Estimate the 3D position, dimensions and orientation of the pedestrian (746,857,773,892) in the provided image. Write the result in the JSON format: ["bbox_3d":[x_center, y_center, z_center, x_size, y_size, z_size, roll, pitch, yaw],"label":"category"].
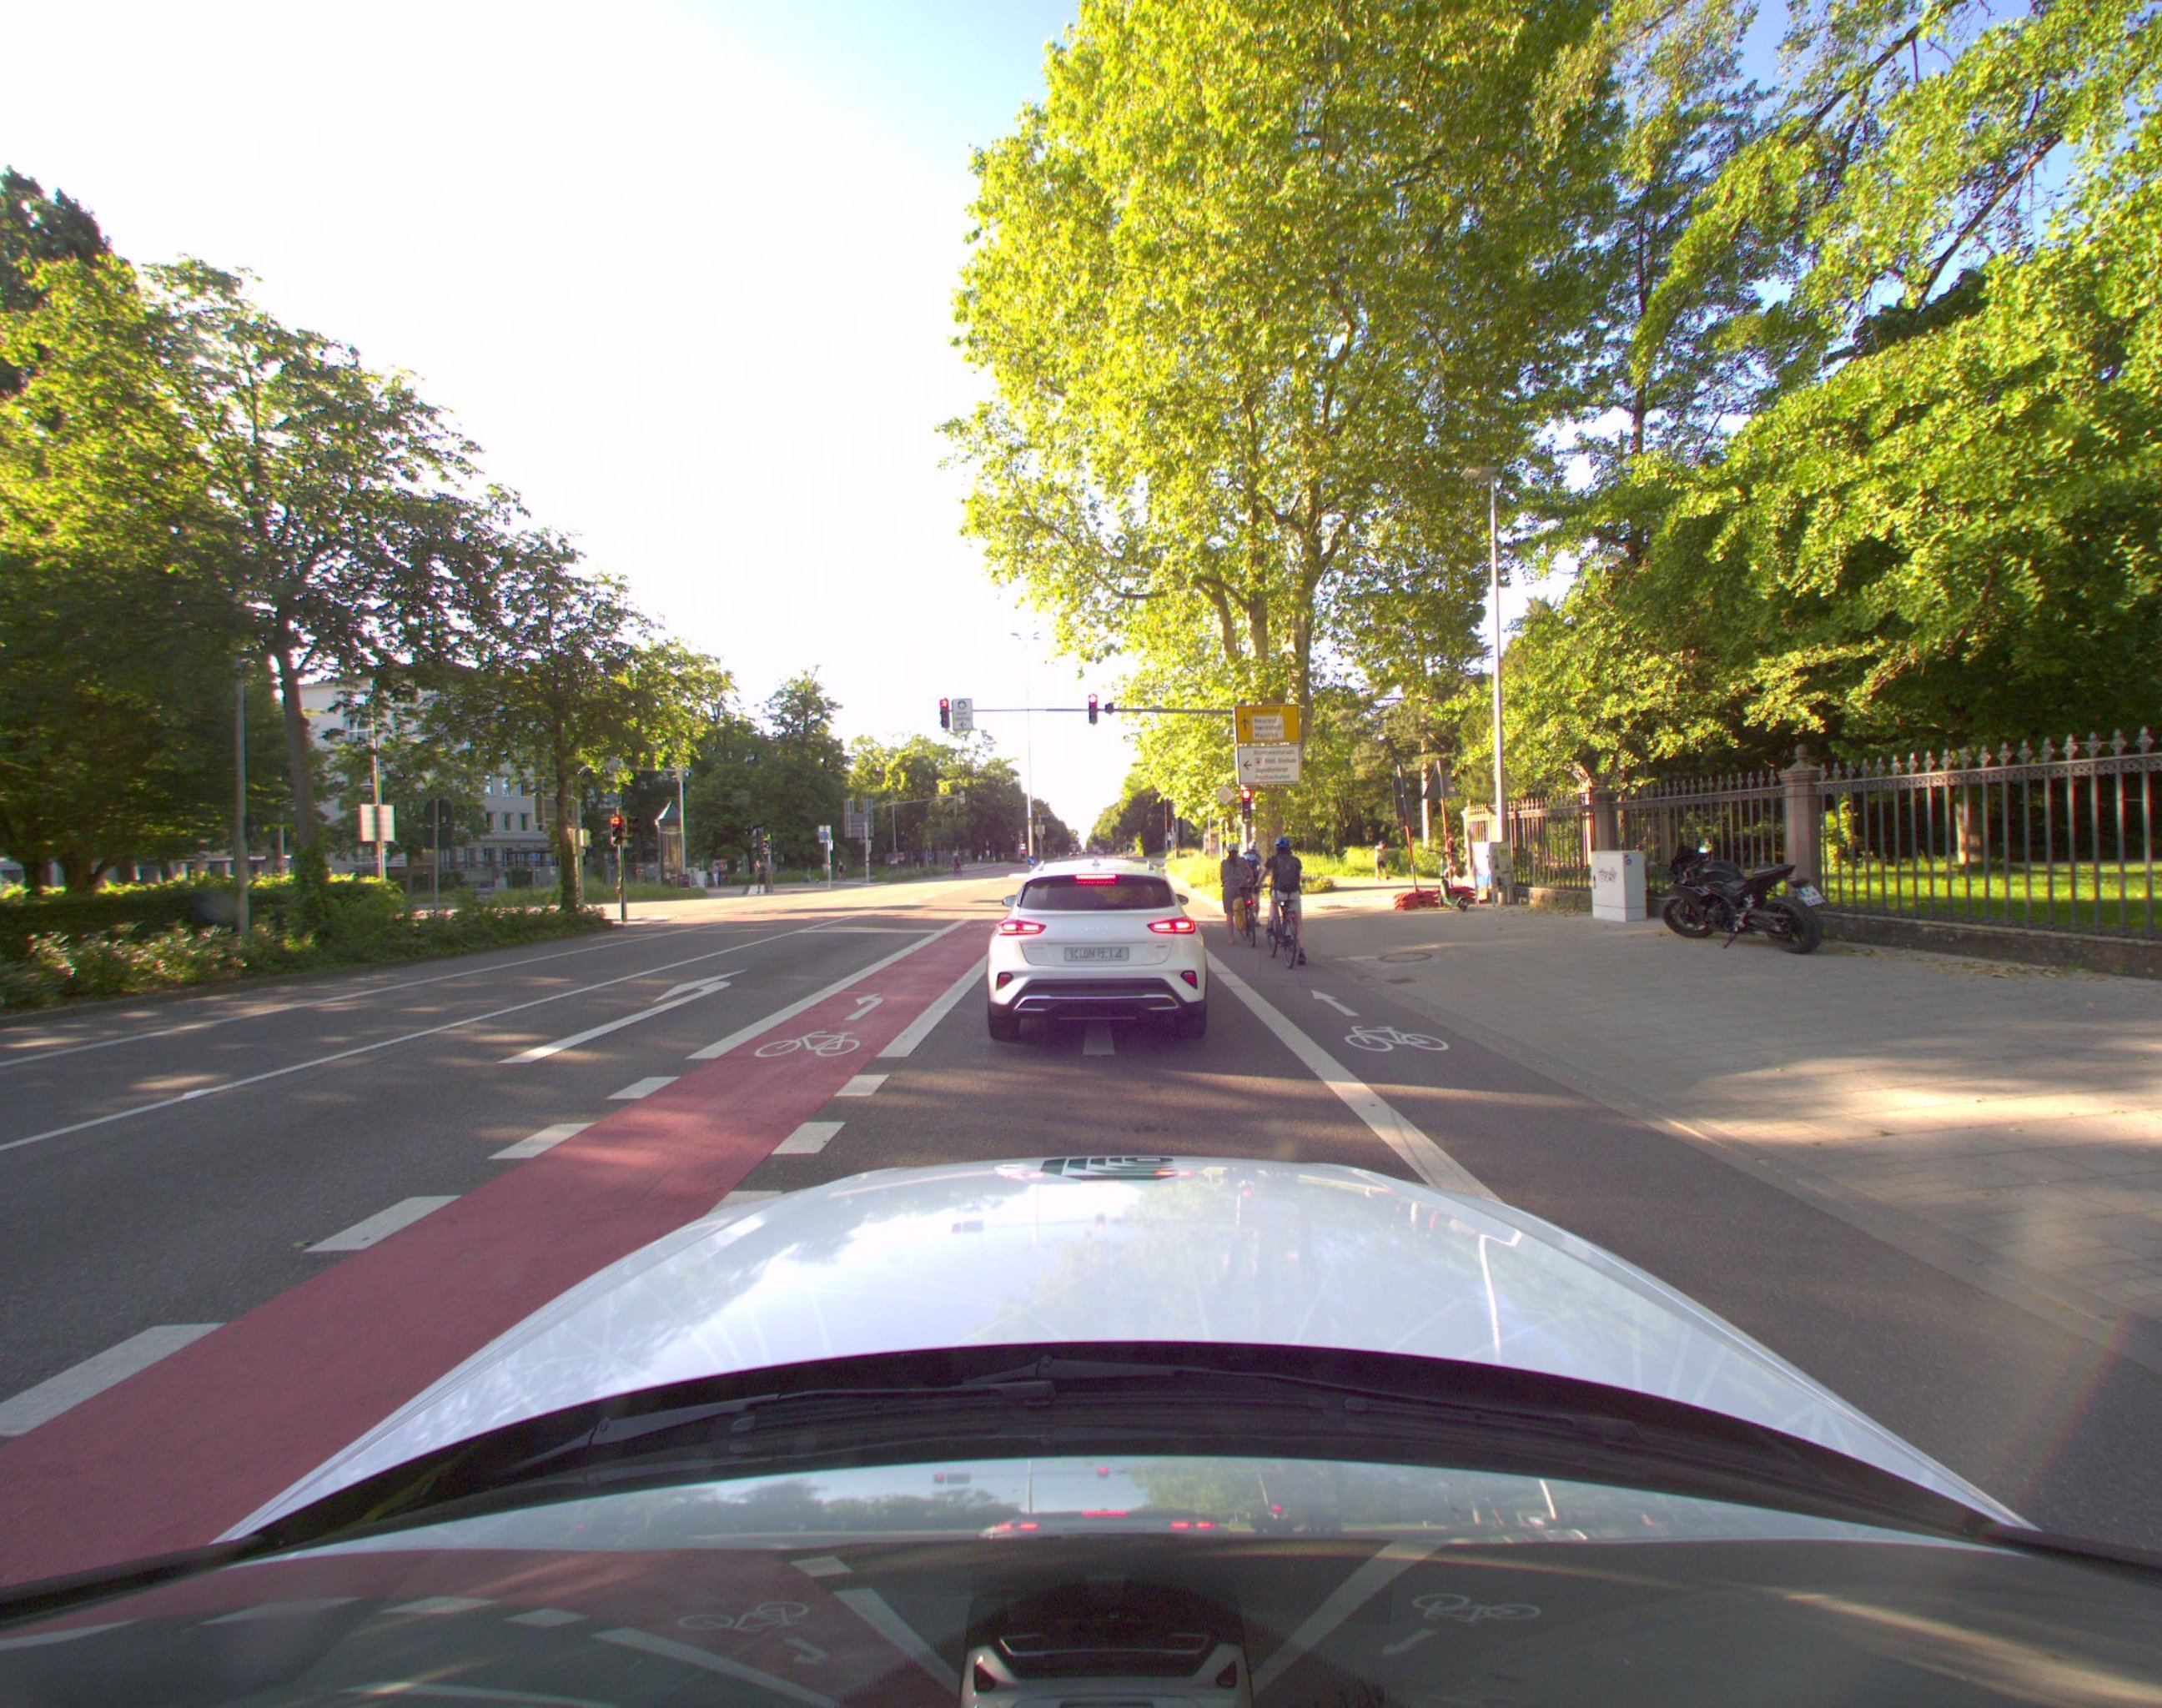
[{"bbox_3d":[-18.723,1.192,47.500,0.990,2.014,1.193,-1,-1,7],"label":"pedestrian"}]

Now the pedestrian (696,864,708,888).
[{"bbox_3d":[-25.449,1.472,54.719,0.628,1.642,0.444,-1,-1,-8],"label":"pedestrian"}]

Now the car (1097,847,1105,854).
[{"bbox_3d":[5.855,-1.114,243.505,1.990,2.013,3.994,-3,0,-4],"label":"car"}]

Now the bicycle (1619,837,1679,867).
[{"bbox_3d":[19.358,-0.062,27.785,1.603,1.015,0.477,-1,-1,21],"label":"bicycle"}]

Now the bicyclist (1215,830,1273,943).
[{"bbox_3d":[2.696,0.516,13.579,0.750,1.795,1.165,0,0,0],"label":"bicyclist"}]

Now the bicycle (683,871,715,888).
[{"bbox_3d":[-25.824,1.719,55.068,1.859,1.148,0.442,-1,-1,-6],"label":"bicycle"}]

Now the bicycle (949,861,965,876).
[{"bbox_3d":[-9.288,1.062,61.086,0.660,0.989,2.507,-3,0,4],"label":"bicycle"}]

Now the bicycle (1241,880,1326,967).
[{"bbox_3d":[2.763,0.913,11.327,0.666,1.009,2.081,-1,0,0],"label":"bicycle"}]

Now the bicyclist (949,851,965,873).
[{"bbox_3d":[-9.308,0.565,61.115,0.871,1.608,1.189,-3,0,4],"label":"bicyclist"}]

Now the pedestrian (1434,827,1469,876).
[{"bbox_3d":[13.800,-0.088,30.312,0.816,1.771,0.830,-3,0,-6],"label":"pedestrian"}]

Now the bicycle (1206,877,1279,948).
[{"bbox_3d":[2.698,0.945,13.900,0.755,1.013,2.569,0,0,0],"label":"bicycle"}]

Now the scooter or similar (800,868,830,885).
[{"bbox_3d":[-18.650,1.573,57.073,0.703,1.124,1.933,-1,0,34],"label":"scooter or similar"}]

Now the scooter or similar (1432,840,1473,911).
[{"bbox_3d":[7.223,0.401,15.865,0.227,1.327,1.172,-3,0,0],"label":"scooter or similar"}]

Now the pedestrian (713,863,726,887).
[{"bbox_3d":[-24.186,1.420,54.502,0.628,1.580,0.444,-1,-1,-8],"label":"pedestrian"}]

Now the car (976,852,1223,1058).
[{"bbox_3d":[0.157,0.747,8.060,1.815,1.480,3.936,-1,0,0],"label":"car"}]

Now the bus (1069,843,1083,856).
[{"bbox_3d":[-1.664,-1.342,251.274,3.732,3.673,13.230,-2,0,-2],"label":"bus"}]

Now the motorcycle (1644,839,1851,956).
[{"bbox_3d":[7.376,0.438,9.185,0.504,1.131,2.170,-4,0,0],"label":"motorcycle"}]

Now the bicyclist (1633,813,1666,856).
[{"bbox_3d":[19.368,-0.654,27.759,0.775,1.431,0.669,-1,-1,21],"label":"bicyclist"}]

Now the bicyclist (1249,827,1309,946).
[{"bbox_3d":[2.760,0.441,11.422,0.663,1.602,0.721,-1,0,0],"label":"bicyclist"}]

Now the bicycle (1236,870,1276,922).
[{"bbox_3d":[3.531,0.831,16.522,0.400,0.956,1.551,-5,0,0],"label":"bicycle"}]

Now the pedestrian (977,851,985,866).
[{"bbox_3d":[-12.391,0.559,101.167,0.782,1.785,0.751,-1,-1,2],"label":"pedestrian"}]

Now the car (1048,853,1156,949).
[{"bbox_3d":[0.354,0.775,15.148,1.723,1.483,3.516,-3,0,0],"label":"car"}]

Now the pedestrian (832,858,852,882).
[{"bbox_3d":[-16.864,1.135,57.458,1.086,1.603,0.999,-3,0,-5],"label":"pedestrian"}]

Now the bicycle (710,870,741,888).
[{"bbox_3d":[-23.923,1.673,54.798,1.859,1.148,0.290,-1,-1,-6],"label":"bicycle"}]

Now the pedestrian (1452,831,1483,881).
[{"bbox_3d":[13.690,0.069,28.850,0.688,1.699,0.643,-3,0,-5],"label":"pedestrian"}]

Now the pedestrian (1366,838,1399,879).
[{"bbox_3d":[11.248,0.167,30.392,0.816,1.518,0.915,-1,-1,-4],"label":"pedestrian"}]

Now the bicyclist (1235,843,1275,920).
[{"bbox_3d":[3.528,0.550,16.576,0.552,1.478,0.717,-5,-1,0],"label":"bicyclist"}]
